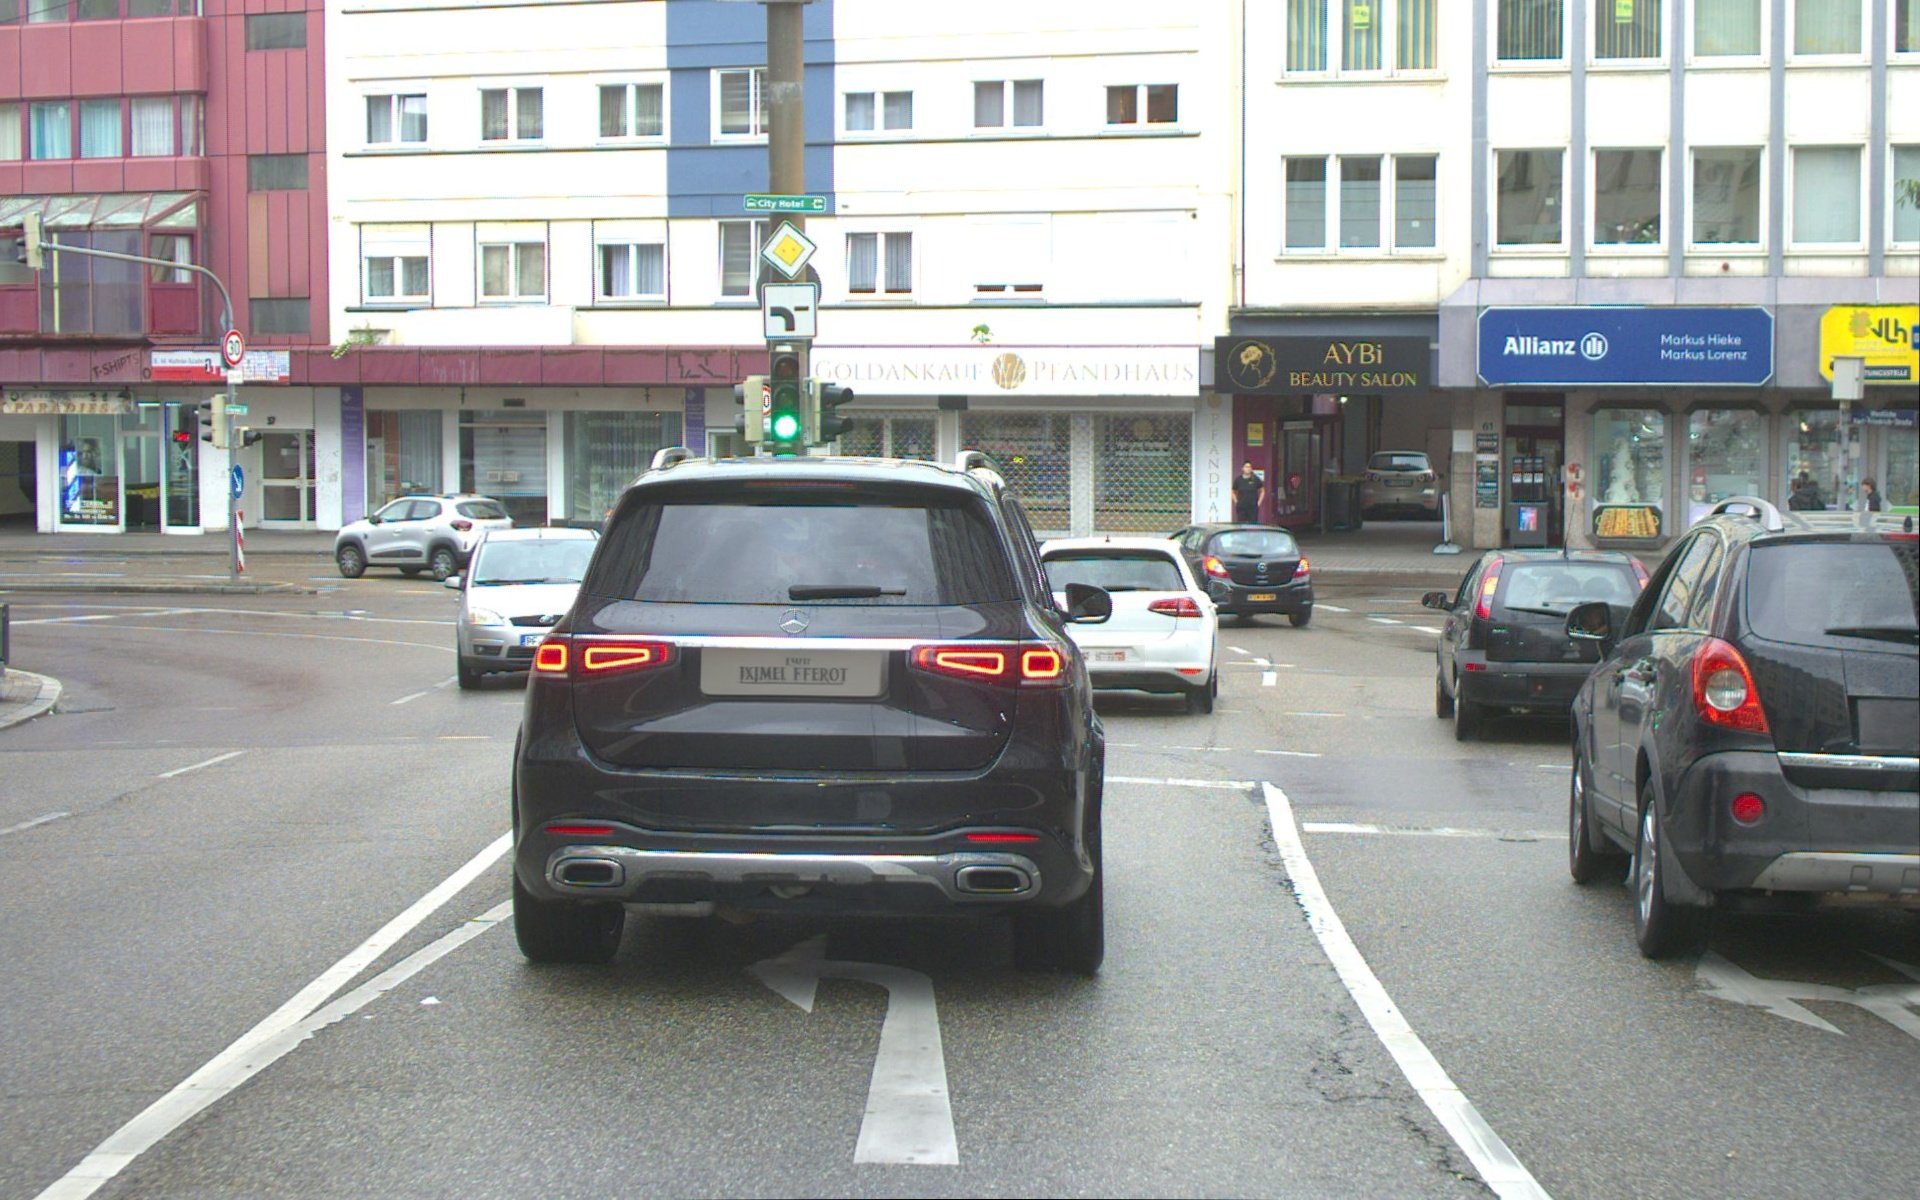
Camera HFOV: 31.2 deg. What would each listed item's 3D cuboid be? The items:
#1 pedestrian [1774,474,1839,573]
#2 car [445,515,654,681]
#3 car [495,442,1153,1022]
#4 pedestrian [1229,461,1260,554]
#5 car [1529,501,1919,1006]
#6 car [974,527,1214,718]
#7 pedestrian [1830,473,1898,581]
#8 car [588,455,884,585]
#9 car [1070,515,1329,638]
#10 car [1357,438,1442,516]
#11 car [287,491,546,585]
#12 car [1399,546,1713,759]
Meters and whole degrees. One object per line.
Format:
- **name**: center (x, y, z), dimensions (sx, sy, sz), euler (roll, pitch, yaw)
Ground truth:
- **pedestrian**: center (15.111, -1.368, 61.387), dimensions (1.030, 1.683, 0.830), euler (0, 7, 9)
- **car**: center (-4.286, -0.044, 36.429), dimensions (1.735, 1.587, 4.176), euler (-2, 1, -1)
- **car**: center (-0.501, 0.365, 13.202), dimensions (2.038, 1.792, 4.663), euler (1, 1, -2)
- **pedestrian**: center (5.352, -1.750, 64.726), dimensions (0.564, 1.683, 0.756), euler (0, 7, 6)
- **car**: center (3.523, 0.501, 13.936), dimensions (1.898, 1.689, 4.505), euler (2, 1, 4)
- **car**: center (1.239, 0.132, 29.855), dimensions (1.874, 1.489, 4.400), euler (1, 1, 5)
- **pedestrian**: center (15.818, -1.285, 60.197), dimensions (1.030, 1.793, 0.830), euler (0, 7, 9)
- **car**: center (-4.098, -1.464, 62.171), dimensions (5.425, 2.220, 2.244), euler (2, 1, 44)
- **car**: center (3.388, -0.362, 49.595), dimensions (1.822, 1.653, 4.496), euler (2, 0, -23)
- **car**: center (9.768, -2.701, 76.230), dimensions (1.798, 1.664, 3.999), euler (0, 1, 9)
- **car**: center (-9.695, -1.116, 61.155), dimensions (4.658, 1.510, 1.926), euler (2, 0, 40)
- **car**: center (4.548, 0.348, 26.782), dimensions (1.767, 1.392, 4.000), euler (4, 1, 2)
